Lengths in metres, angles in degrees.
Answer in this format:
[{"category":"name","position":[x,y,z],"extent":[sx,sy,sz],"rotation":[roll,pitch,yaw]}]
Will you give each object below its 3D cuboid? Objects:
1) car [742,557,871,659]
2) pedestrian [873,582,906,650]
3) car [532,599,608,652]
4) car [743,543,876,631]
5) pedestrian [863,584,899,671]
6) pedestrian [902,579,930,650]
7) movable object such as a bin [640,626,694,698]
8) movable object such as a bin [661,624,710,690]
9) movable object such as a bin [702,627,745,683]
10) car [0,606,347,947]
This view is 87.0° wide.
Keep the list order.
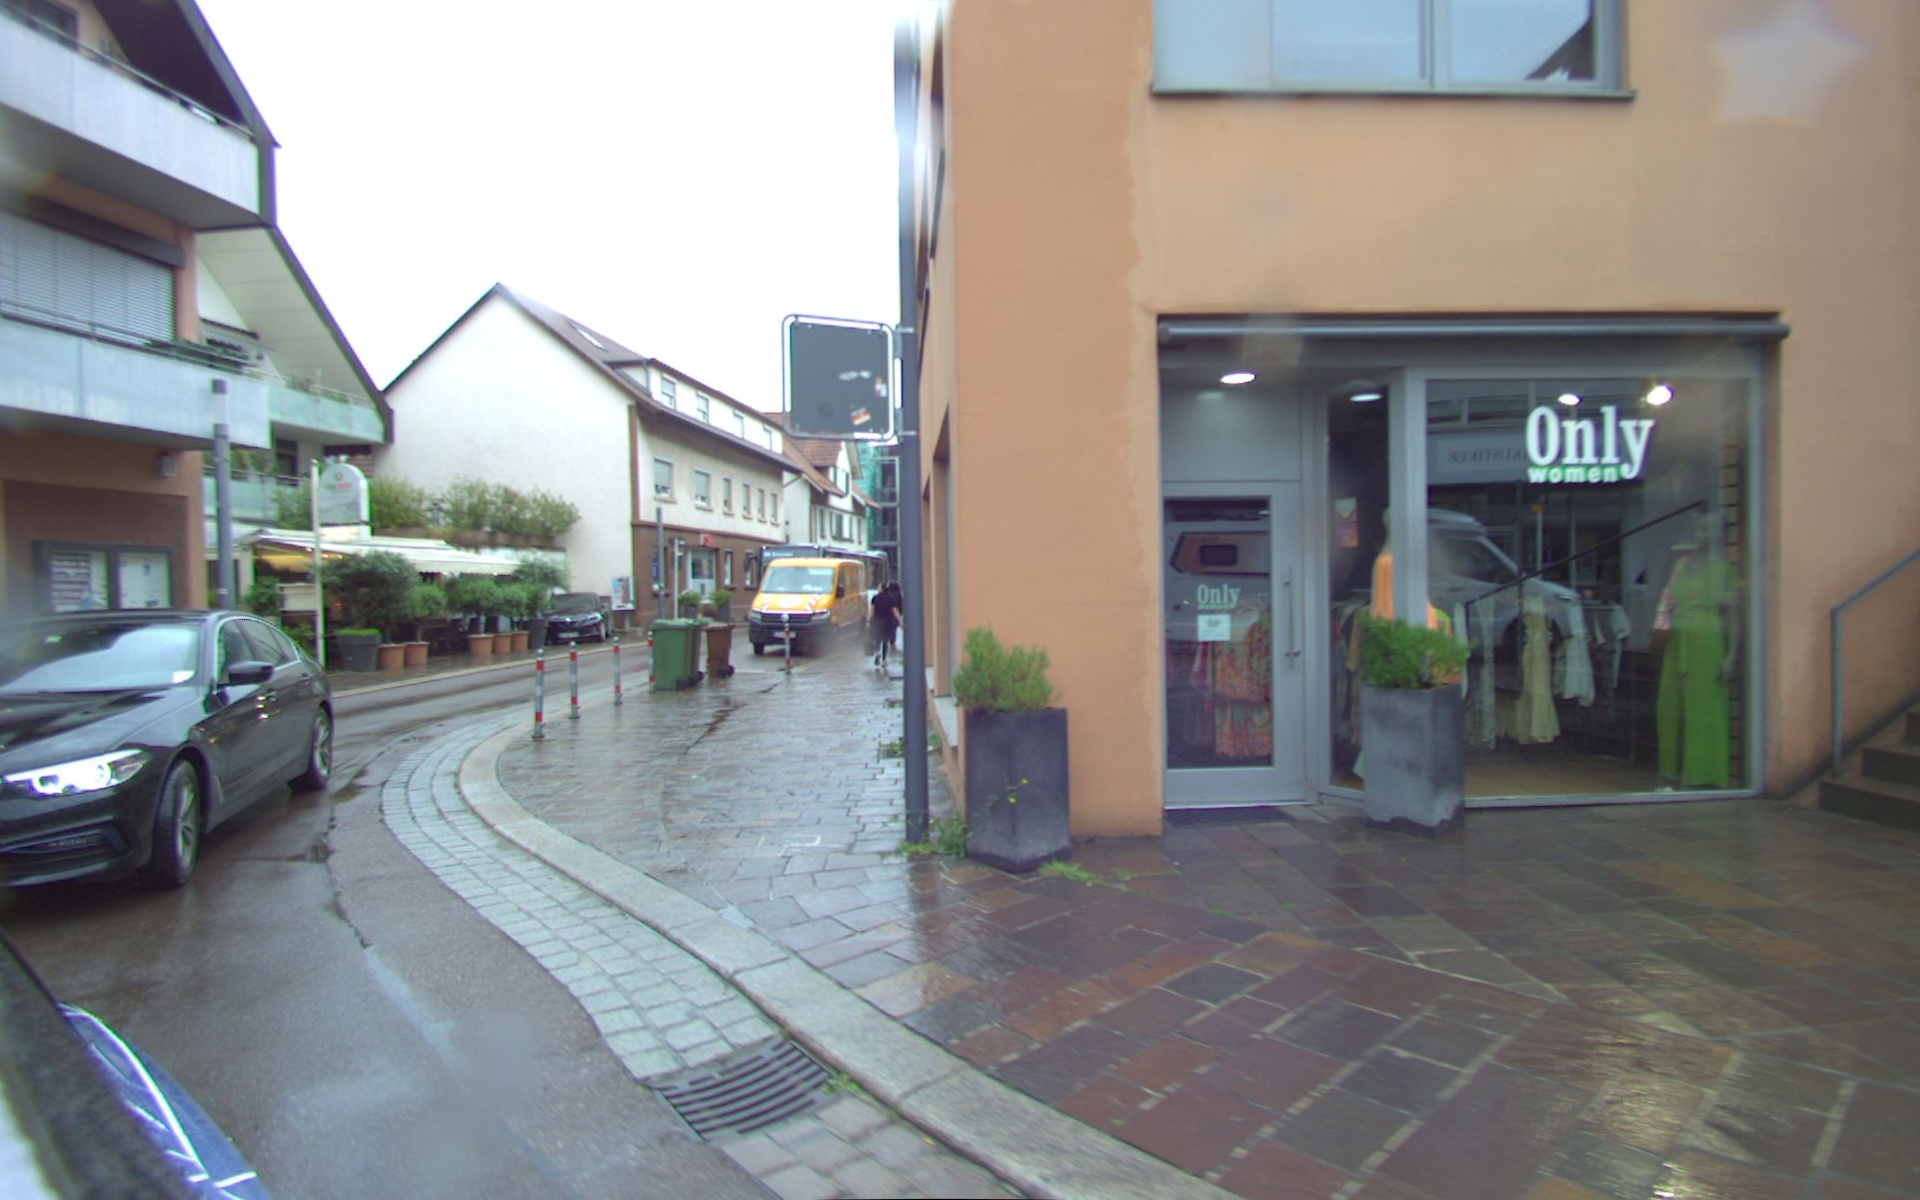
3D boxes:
[{"category":"car","position":[-3.713,0.148,25.718],"extent":[1.974,2.256,5.854],"rotation":[-1,1,4]},{"category":"pedestrian","position":[-1.749,0.390,25.155],"extent":[0.707,1.652,0.746],"rotation":[-3,1,-1]},{"category":"car","position":[-11.066,0.672,28.905],"extent":[1.709,1.367,3.948],"rotation":[-1,1,-16]},{"category":"car","position":[-5.491,-0.426,38.723],"extent":[2.680,2.895,8.824],"rotation":[-1,0,7]},{"category":"pedestrian","position":[-1.513,0.514,19.334],"extent":[0.651,1.622,0.685],"rotation":[-1,0,-4]},{"category":"pedestrian","position":[-1.096,0.350,25.151],"extent":[0.615,1.725,0.809],"rotation":[-3,1,-1]},{"category":"movable object such as a bin","position":[-4.482,0.942,15.506],"extent":[0.649,1.044,0.610],"rotation":[-1,1,-3]},{"category":"movable object such as a bin","position":[-4.541,0.928,16.761],"extent":[0.649,1.044,0.610],"rotation":[-1,1,-3]},{"category":"movable object such as a bin","position":[-4.168,0.965,17.870],"extent":[0.576,0.934,0.480],"rotation":[-2,0,7]},{"category":"car","position":[-5.383,0.790,6.263],"extent":[1.915,1.413,4.434],"rotation":[-1,1,-21]}]
